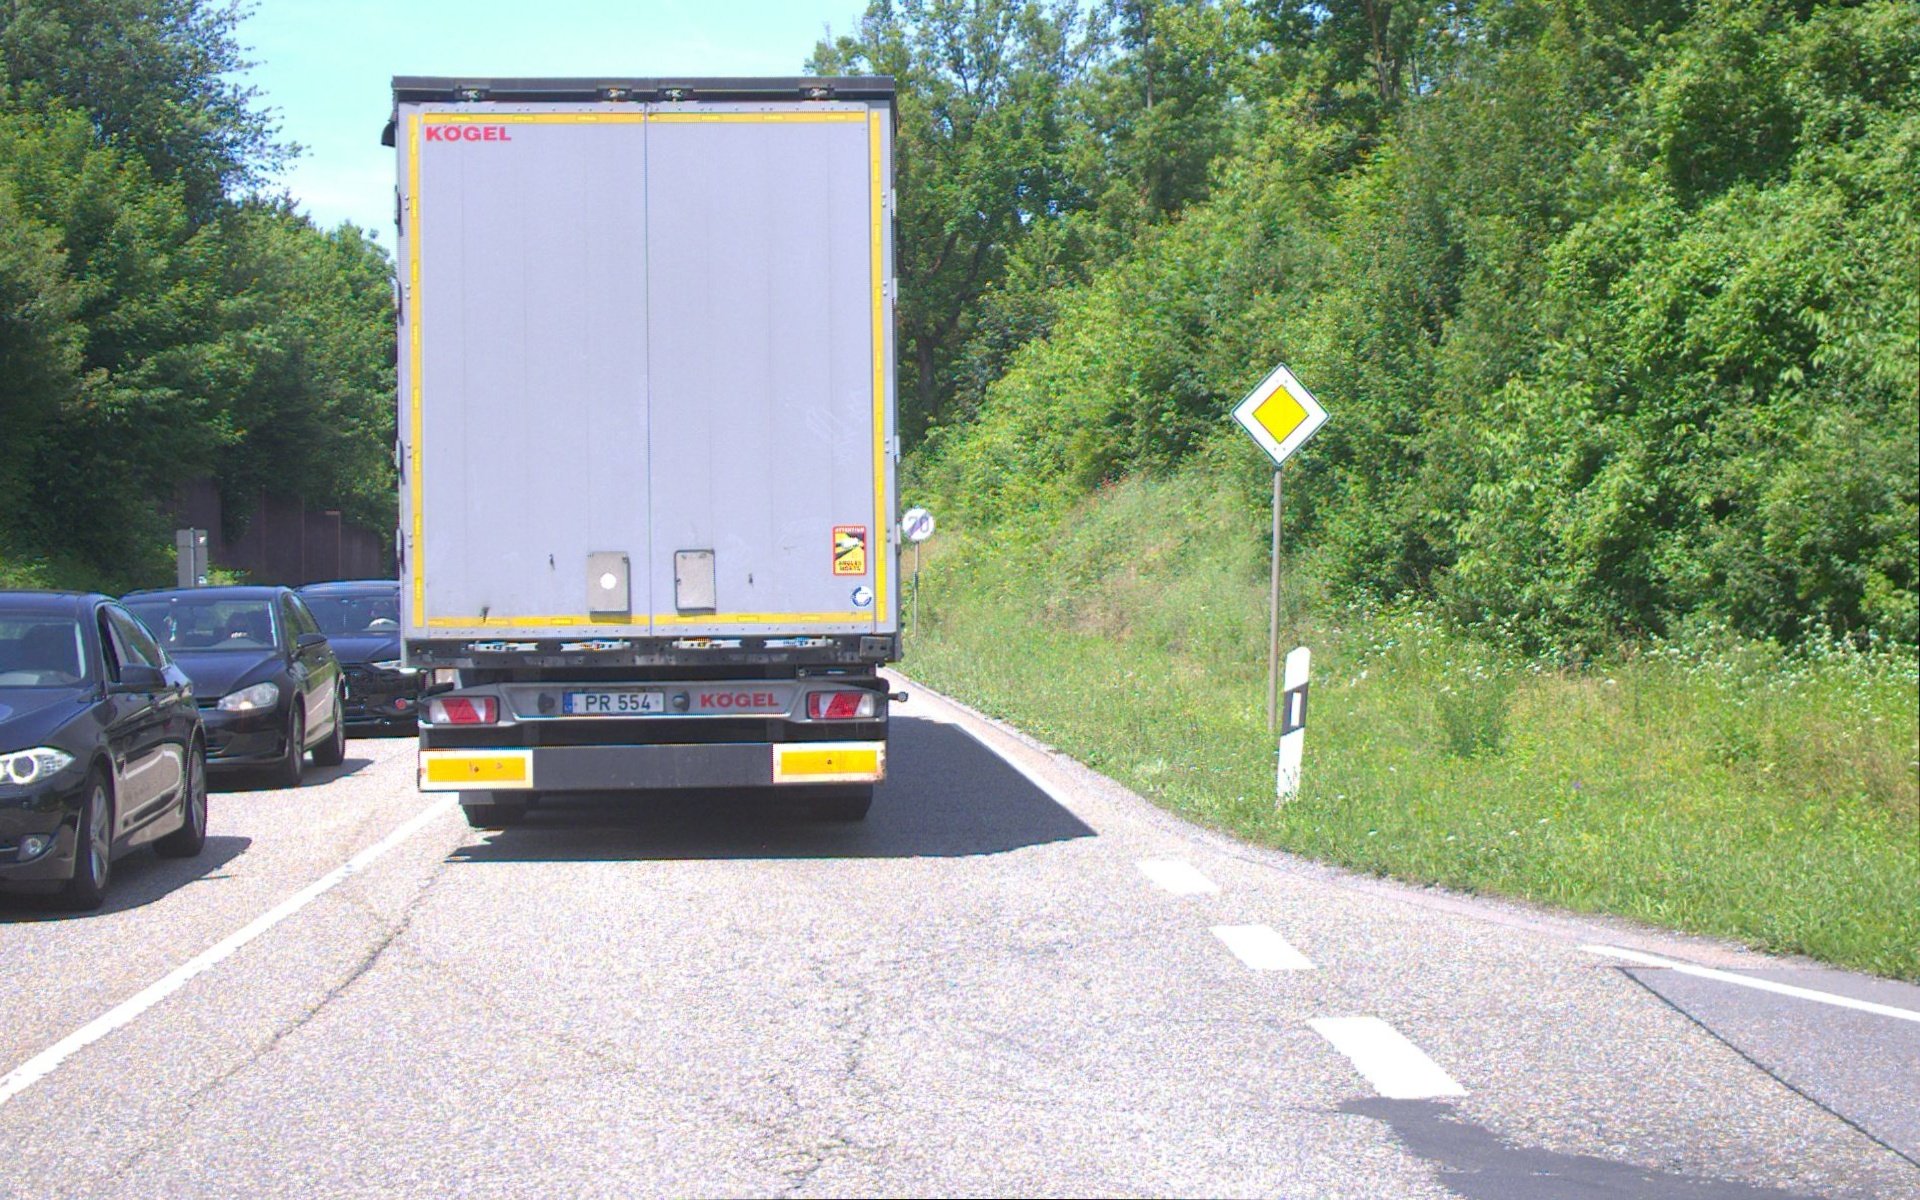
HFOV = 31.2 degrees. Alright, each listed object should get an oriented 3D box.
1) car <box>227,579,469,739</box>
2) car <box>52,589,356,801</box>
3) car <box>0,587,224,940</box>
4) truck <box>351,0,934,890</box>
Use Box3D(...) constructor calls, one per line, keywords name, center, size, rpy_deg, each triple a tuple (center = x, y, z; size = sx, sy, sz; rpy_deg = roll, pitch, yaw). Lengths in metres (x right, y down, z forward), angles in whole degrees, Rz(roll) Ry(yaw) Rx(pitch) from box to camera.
Box3D(name="car", center=(-5.956, 0.531, 33.908), size=(1.804, 1.448, 4.387), rpy_deg=(-1, 0, -3))
Box3D(name="car", center=(-5.547, 0.641, 25.661), size=(1.681, 1.409, 4.182), rpy_deg=(0, 1, -5))
Box3D(name="car", center=(-4.837, 0.698, 16.858), size=(1.781, 1.442, 4.641), rpy_deg=(-1, 1, -5))
Box3D(name="truck", center=(-1.871, -0.916, 20.610), size=(2.822, 4.588, 6.666), rpy_deg=(-1, 1, -5))
